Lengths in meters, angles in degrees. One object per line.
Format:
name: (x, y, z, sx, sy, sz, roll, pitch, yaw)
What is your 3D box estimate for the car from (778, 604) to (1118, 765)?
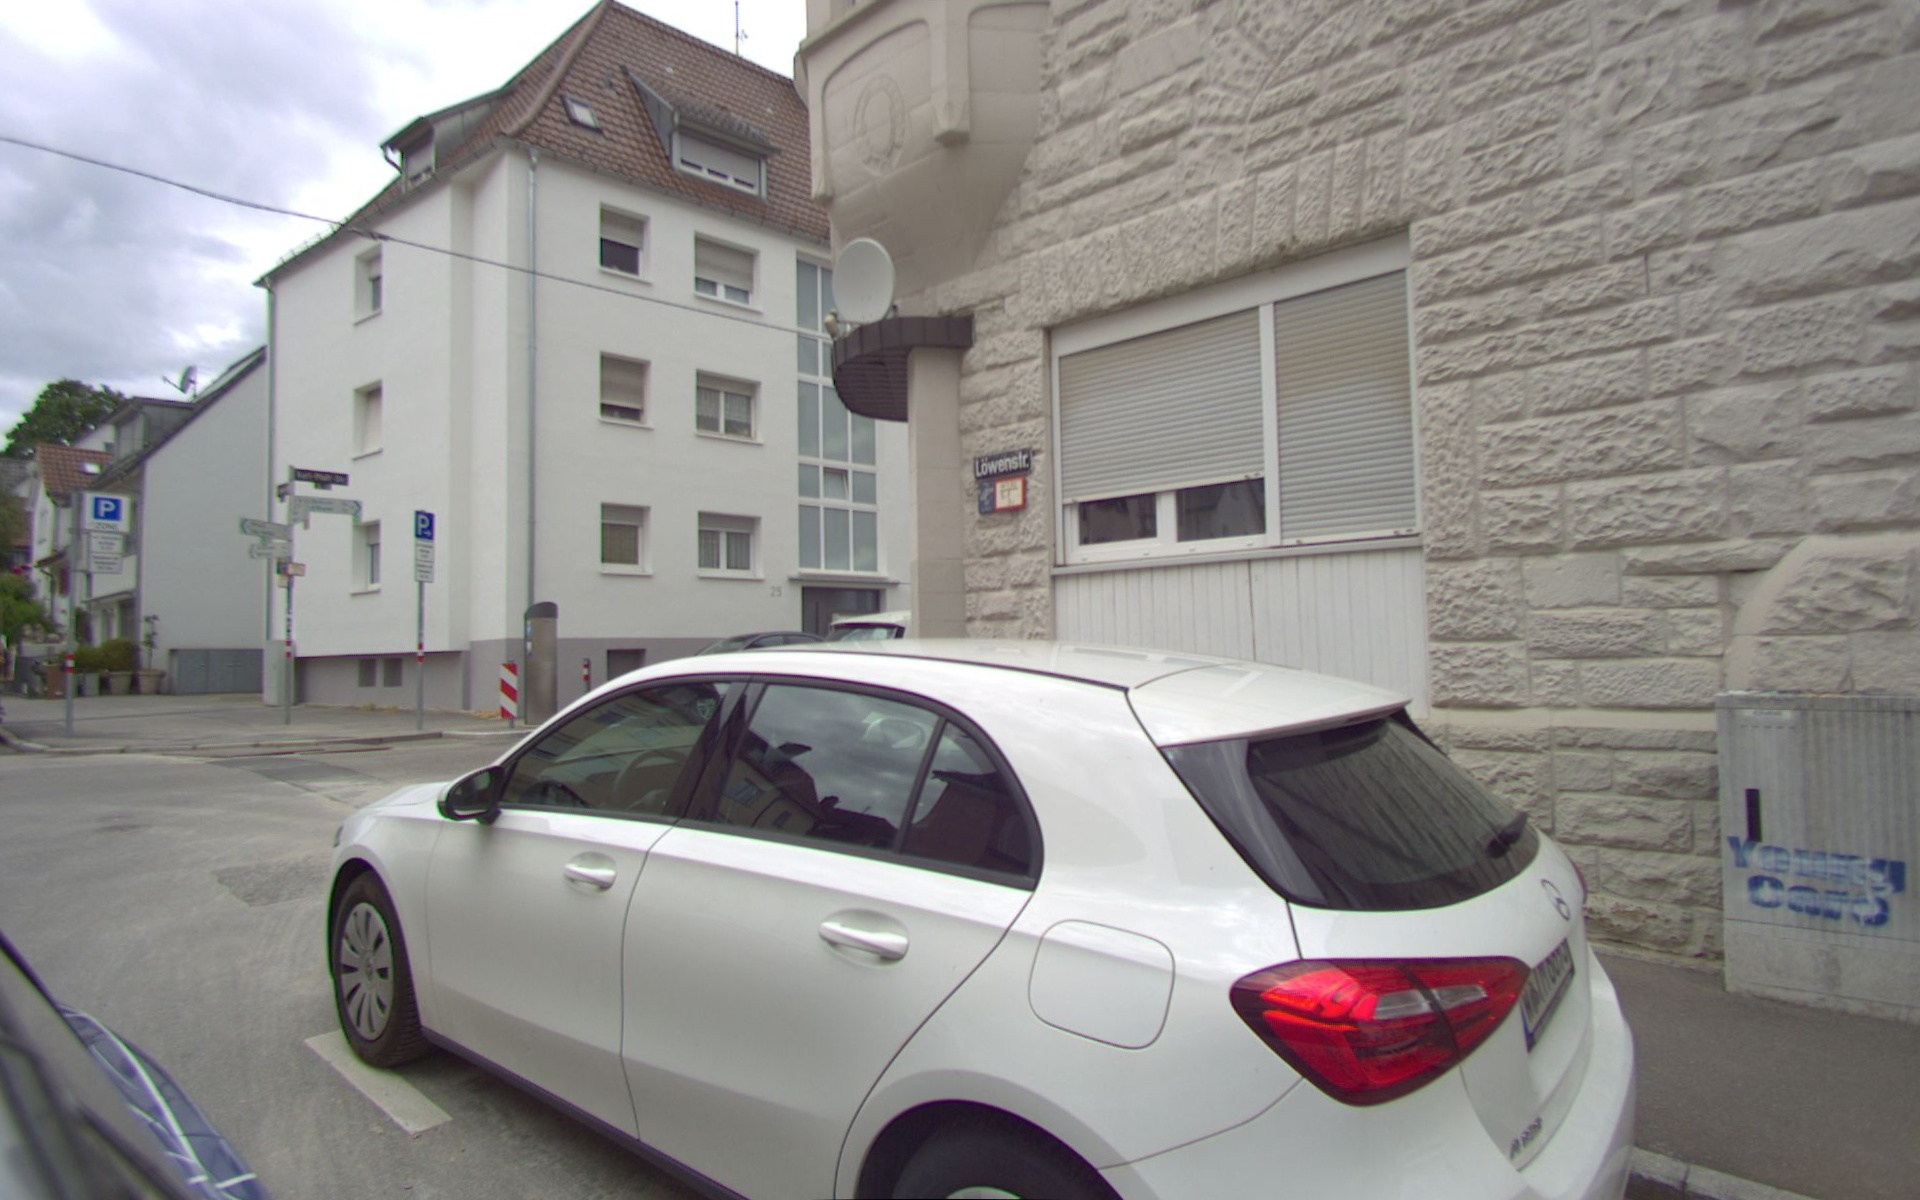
car: (-0.019, 0.898, 12.218, 1.826, 1.611, 3.969, -3, -3, 44)

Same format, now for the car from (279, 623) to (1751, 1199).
car: (-0.344, 0.794, 3.036, 4.236, 1.425, 1.682, -1, -2, 40)

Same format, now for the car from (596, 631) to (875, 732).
car: (-3.659, 1.308, 16.995, 4.234, 1.402, 1.827, 0, -4, -45)

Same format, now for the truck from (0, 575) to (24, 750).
truck: (-17.115, 1.032, 16.207, 6.283, 2.571, 2.287, -4, -5, 40)

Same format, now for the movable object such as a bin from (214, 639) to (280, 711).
movable object such as a bin: (-16.538, 1.720, 23.486, 1.001, 1.630, 0.997, -3, -4, 40)
